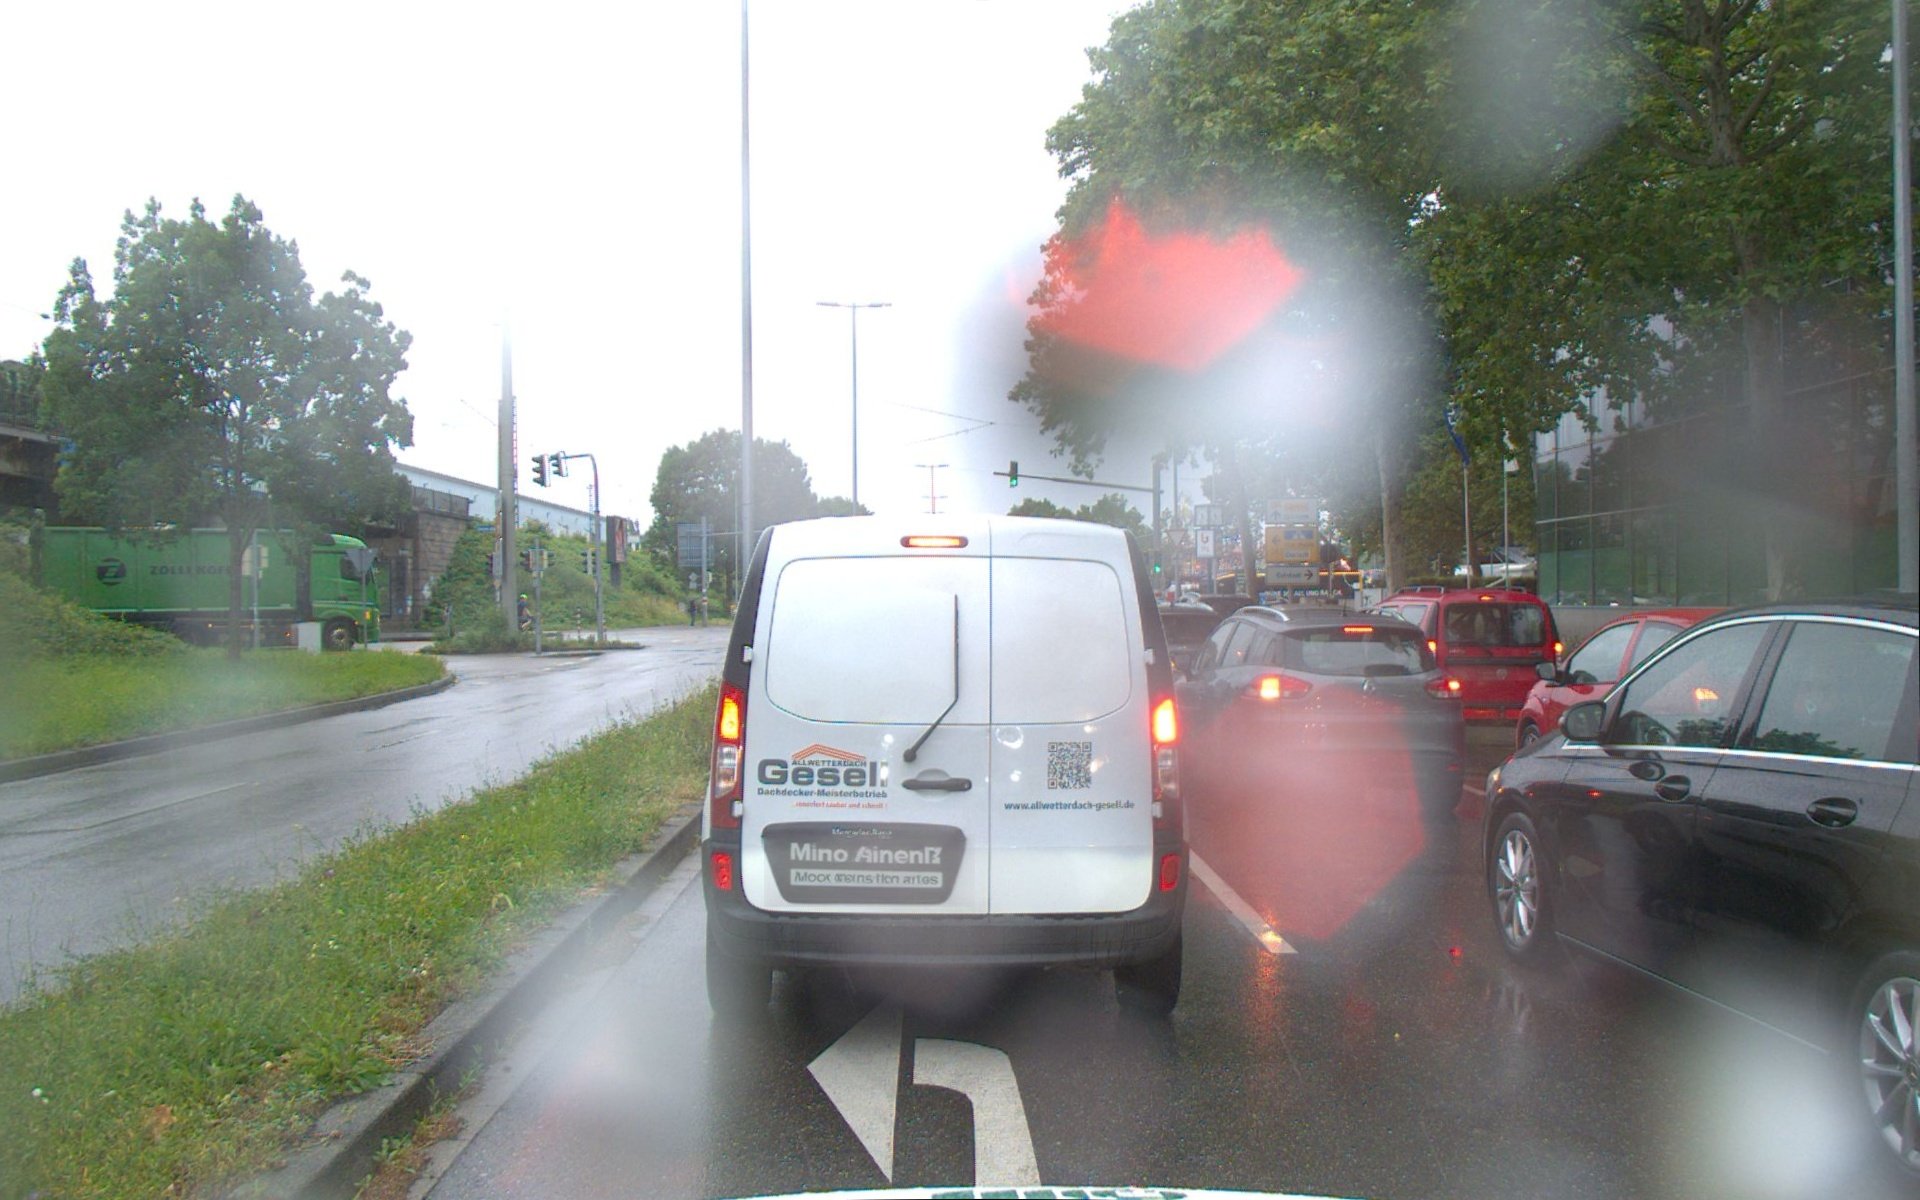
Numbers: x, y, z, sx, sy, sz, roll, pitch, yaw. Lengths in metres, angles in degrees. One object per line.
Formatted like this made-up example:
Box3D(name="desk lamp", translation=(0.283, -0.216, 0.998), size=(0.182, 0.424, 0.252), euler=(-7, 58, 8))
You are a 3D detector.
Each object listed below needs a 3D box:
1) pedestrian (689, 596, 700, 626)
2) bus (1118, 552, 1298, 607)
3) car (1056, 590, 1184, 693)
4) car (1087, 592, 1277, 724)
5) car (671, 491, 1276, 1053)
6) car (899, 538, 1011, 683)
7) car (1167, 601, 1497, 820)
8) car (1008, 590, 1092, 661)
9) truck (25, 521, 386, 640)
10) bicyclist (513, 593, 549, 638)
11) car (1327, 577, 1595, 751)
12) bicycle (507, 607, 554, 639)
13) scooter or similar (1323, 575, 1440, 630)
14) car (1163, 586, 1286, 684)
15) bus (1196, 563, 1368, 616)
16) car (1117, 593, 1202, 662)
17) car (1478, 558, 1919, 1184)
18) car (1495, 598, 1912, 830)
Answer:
Box3D(name="pedestrian", translation=(-15.350, 0.623, 95.734), size=(0.532, 1.746, 0.563), euler=(1, -1, -5))
Box3D(name="bus", translation=(16.593, -1.397, 111.143), size=(11.727, 3.483, 2.315), euler=(-1, 1, -1))
Box3D(name="car", translation=(2.738, 0.668, 29.046), size=(1.816, 1.678, 3.842), euler=(0, 0, -1))
Box3D(name="car", translation=(2.663, 0.643, 20.654), size=(1.816, 1.486, 3.842), euler=(0, 0, -1))
Box3D(name="car", translation=(0.015, 0.537, 7.633), size=(1.953, 1.807, 4.584), euler=(0, 0, -1))
Box3D(name="car", translation=(-0.109, 0.155, 28.628), size=(1.816, 2.336, 3.842), euler=(0, 0, -1))
Box3D(name="car", translation=(2.762, 0.750, 13.125), size=(1.649, 1.433, 3.842), euler=(1, 0, -2))
Box3D(name="car", translation=(2.198, 0.607, 41.181), size=(1.816, 1.678, 3.842), euler=(0, 0, -1))
Box3D(name="truck", translation=(-23.162, -0.591, 51.279), size=(9.957, 3.430, 2.316), euler=(0, 0, -37))
Box3D(name="bicyclist", translation=(-14.325, 0.510, 55.194), size=(1.028, 1.475, 0.723), euler=(-1, 1, -26))
Box3D(name="car", translation=(5.515, 0.662, 18.762), size=(1.676, 1.724, 4.271), euler=(1, -1, -1))
Box3D(name="bicycle", translation=(-14.385, 0.761, 55.316), size=(1.027, 0.968, 2.865), euler=(-1, 1, -25))
Box3D(name="scooter or similar", translation=(19.669, 0.097, 77.352), size=(1.878, 2.489, 5.239), euler=(0, 0, -41))
Box3D(name="car", translation=(4.944, 0.609, 31.409), size=(1.673, 1.758, 3.842), euler=(0, 0, -1))
Box3D(name="bus", translation=(22.549, -0.750, 115.943), size=(11.751, 3.483, 2.478), euler=(-1, 1, -10))
Box3D(name="car", translation=(5.112, 0.693, 42.784), size=(1.674, 1.678, 3.842), euler=(1, 0, -1))
Box3D(name="car", translation=(3.248, 0.685, 5.438), size=(1.712, 1.582, 4.089), euler=(0, 0, -2))
Box3D(name="car", translation=(5.406, 0.744, 12.494), size=(1.537, 1.488, 3.388), euler=(0, 0, -2))
